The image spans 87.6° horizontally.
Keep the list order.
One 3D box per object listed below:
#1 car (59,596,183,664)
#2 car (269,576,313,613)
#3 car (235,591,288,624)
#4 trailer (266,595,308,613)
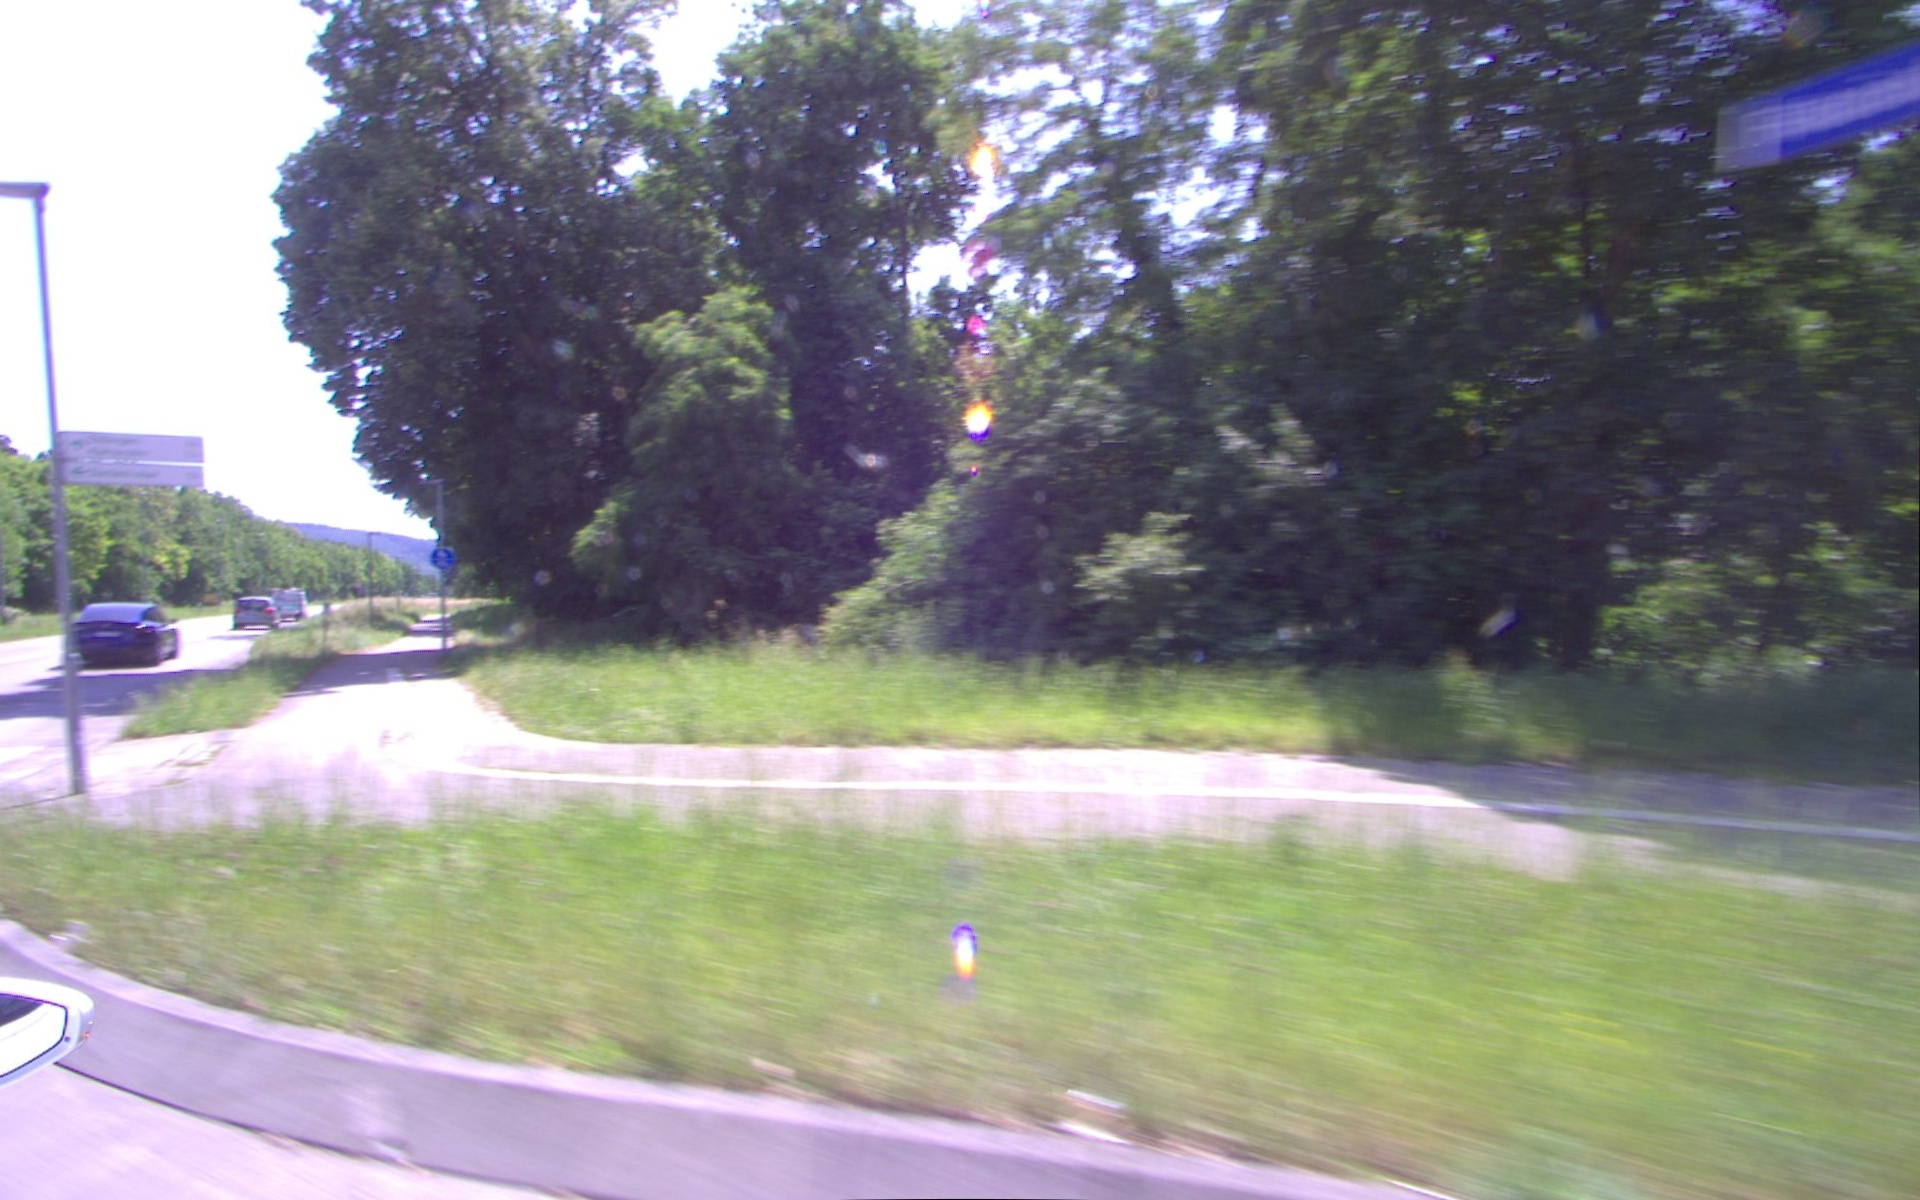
[{"bbox_3d":[-22.479,0.715,27.018,1.973,1.662,4.726,0,1,-33],"label":"car"},{"bbox_3d":[-45.042,-0.353,67.496,2.142,2.347,4.954,0,0,-30],"label":"car"},{"bbox_3d":[-35.609,0.391,51.099,1.764,1.628,4.107,0,0,-29],"label":"car"},{"bbox_3d":[-42.947,0.267,63.938,2.099,1.112,3.335,1,0,-32],"label":"trailer"}]
